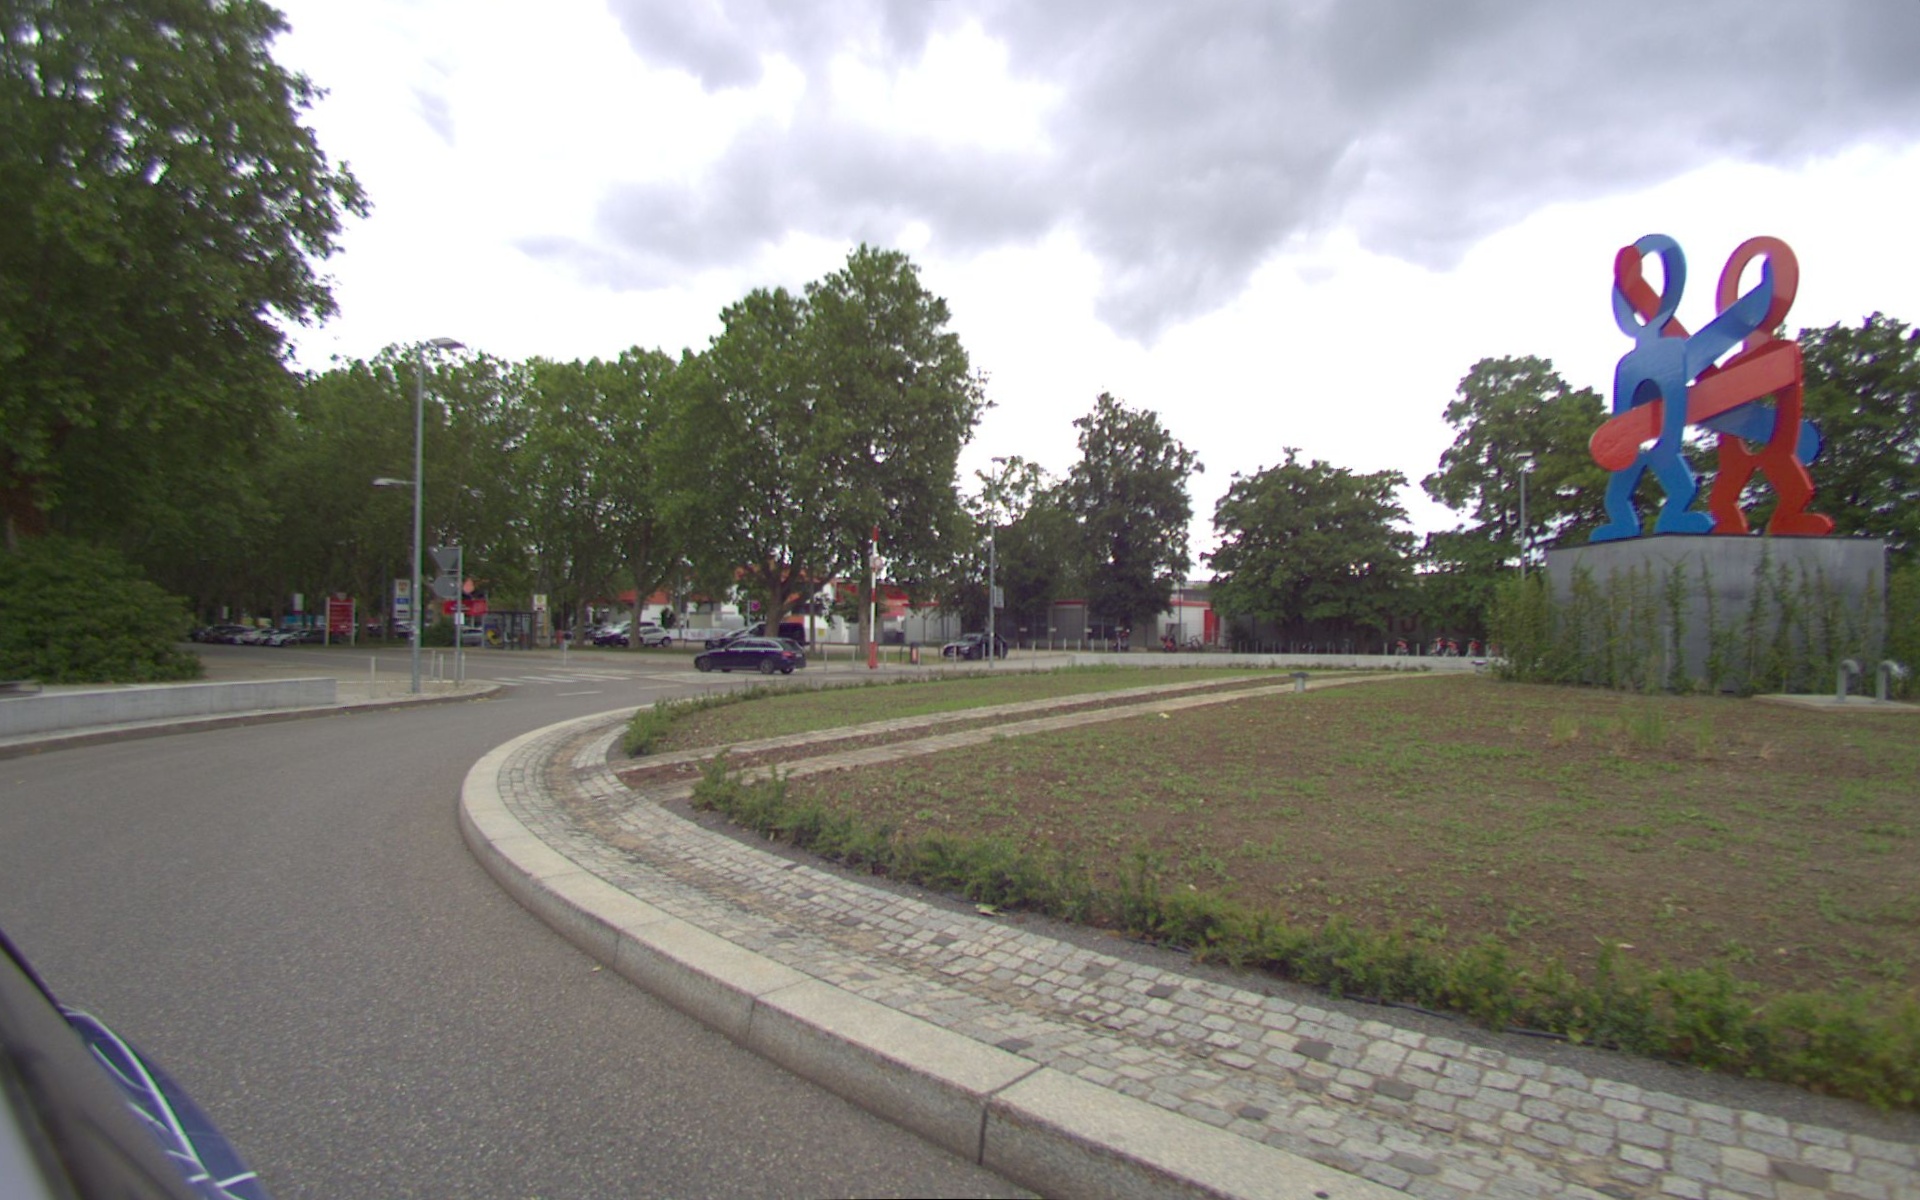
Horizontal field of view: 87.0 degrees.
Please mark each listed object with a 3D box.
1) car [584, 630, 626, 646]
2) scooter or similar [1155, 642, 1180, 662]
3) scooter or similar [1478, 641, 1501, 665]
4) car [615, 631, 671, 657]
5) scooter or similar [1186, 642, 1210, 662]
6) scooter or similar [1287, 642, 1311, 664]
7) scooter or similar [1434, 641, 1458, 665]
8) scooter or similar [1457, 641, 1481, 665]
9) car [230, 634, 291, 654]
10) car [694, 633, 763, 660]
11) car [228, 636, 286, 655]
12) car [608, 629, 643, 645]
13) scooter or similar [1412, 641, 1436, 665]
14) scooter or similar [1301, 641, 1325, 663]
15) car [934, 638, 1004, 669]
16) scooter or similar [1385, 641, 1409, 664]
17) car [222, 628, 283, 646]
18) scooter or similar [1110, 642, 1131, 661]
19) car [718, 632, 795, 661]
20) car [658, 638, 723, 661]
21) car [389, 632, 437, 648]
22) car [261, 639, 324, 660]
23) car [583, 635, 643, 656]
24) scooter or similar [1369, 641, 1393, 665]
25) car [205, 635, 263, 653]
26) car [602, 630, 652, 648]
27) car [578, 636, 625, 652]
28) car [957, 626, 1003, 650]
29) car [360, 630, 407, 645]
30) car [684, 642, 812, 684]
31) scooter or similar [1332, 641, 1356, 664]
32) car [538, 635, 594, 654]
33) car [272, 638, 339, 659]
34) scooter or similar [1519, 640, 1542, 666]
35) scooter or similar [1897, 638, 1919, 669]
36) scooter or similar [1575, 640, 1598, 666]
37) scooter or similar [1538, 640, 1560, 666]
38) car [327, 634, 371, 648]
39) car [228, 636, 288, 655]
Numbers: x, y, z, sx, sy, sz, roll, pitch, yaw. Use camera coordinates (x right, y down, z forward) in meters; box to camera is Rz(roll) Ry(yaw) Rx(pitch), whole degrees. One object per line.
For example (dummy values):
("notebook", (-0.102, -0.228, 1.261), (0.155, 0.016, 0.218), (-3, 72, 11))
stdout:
("car", (-37.979, 4.029, 108.201), (1.794, 1.664, 3.906), (-2, -2, 37))
("scooter or similar", (12.290, 3.074, 59.945), (0.639, 1.117, 1.951), (-2, -2, 37))
("scooter or similar", (24.903, 2.480, 47.571), (0.639, 1.117, 1.951), (-2, -2, 37))
("car", (-23.655, 3.275, 75.670), (3.655, 1.791, 1.672), (1, -3, -43))
("scooter or similar", (13.754, 2.991, 58.451), (0.639, 1.117, 1.951), (-2, -2, 37))
("scooter or similar", (18.231, 2.858, 54.428), (0.639, 1.117, 1.951), (-2, -2, 37))
("scooter or similar", (23.448, 2.539, 48.842), (0.639, 1.117, 1.951), (-2, -2, 37))
("scooter or similar", (24.215, 2.503, 48.133), (0.639, 1.117, 1.951), (-2, -2, 37))
("car", (-58.262, 3.671, 84.365), (3.946, 1.530, 1.874), (1, -3, -43))
("car", (-15.387, 3.075, 67.445), (2.009, 1.741, 4.237), (-2, -2, 38))
("car", (-61.186, 3.949, 88.133), (3.946, 1.530, 1.874), (1, -3, -43))
("car", (-37.084, 4.097, 112.269), (3.950, 1.733, 1.774), (-2, -2, 38))
("scooter or similar", (22.677, 2.567, 49.434), (0.639, 1.117, 1.951), (-2, -2, 37))
("scooter or similar", (18.825, 2.765, 53.985), (0.639, 1.118, 1.951), (-2, -2, 37))
("car", (0.520, 2.846, 54.005), (1.777, 1.536, 3.776), (-2, -2, 38))
("scooter or similar", (21.807, 2.618, 50.453), (0.639, 1.117, 1.951), (-2, -2, 37))
("car", (-66.316, 3.481, 94.916), (1.796, 1.664, 4.374), (-3, -3, 42))
("scooter or similar", (9.958, 3.184, 62.775), (0.545, 1.103, 1.787), (-2, -2, 37))
("car", (-13.175, 3.016, 65.826), (2.009, 1.741, 4.750), (-2, -2, 38))
("car", (-18.757, 3.416, 70.532), (3.946, 1.530, 1.874), (1, -3, -43))
("car", (-55.205, 4.054, 102.132), (3.945, 1.530, 1.874), (1, -3, -42))
("car", (-52.630, 3.871, 79.812), (3.946, 1.530, 1.874), (1, -3, -43))
("car", (-26.423, 3.445, 77.092), (3.947, 1.530, 1.873), (1, -3, -43))
("scooter or similar", (21.200, 2.655, 50.934), (0.639, 1.113, 1.951), (-2, -2, 37))
("car", (-64.196, 3.871, 89.545), (3.946, 1.530, 1.874), (1, -3, -43))
("car", (-31.851, 3.756, 96.887), (1.794, 1.664, 4.381), (-2, -2, 37))
("car", (-34.944, 4.294, 98.783), (1.869, 1.530, 3.955), (-2, -2, 38))
("car", (1.422, 2.789, 73.958), (1.765, 1.664, 4.451), (0, -2, -22))
("car", (-60.606, 3.955, 106.427), (3.945, 1.530, 1.874), (1, -3, -42))
("car", (-8.426, 2.510, 40.300), (4.684, 1.576, 1.788), (-1, -2, 15))
("scooter or similar", (20.180, 2.745, 53.163), (0.639, 1.117, 1.951), (-2, -2, 37))
("car", (-32.968, 3.724, 84.738), (3.946, 1.530, 1.874), (1, -3, -43))
("car", (-50.680, 3.726, 78.446), (4.113, 1.530, 1.874), (1, -3, -43))
("scooter or similar", (26.207, 2.425, 46.441), (0.639, 1.117, 1.951), (-2, -2, 37))
("scooter or similar", (36.338, 2.032, 38.616), (0.639, 1.117, 1.951), (-2, -2, 37))
("scooter or similar", (27.931, 2.366, 45.114), (0.639, 1.117, 1.951), (-2, -2, 37))
("scooter or similar", (26.787, 2.404, 46.015), (0.639, 1.117, 1.951), (-2, -2, 37))
("car", (-68.894, 4.661, 114.204), (3.946, 1.530, 1.874), (1, -3, -43))
("car", (-59.744, 3.827, 86.159), (3.946, 1.530, 1.874), (1, -3, -43))
